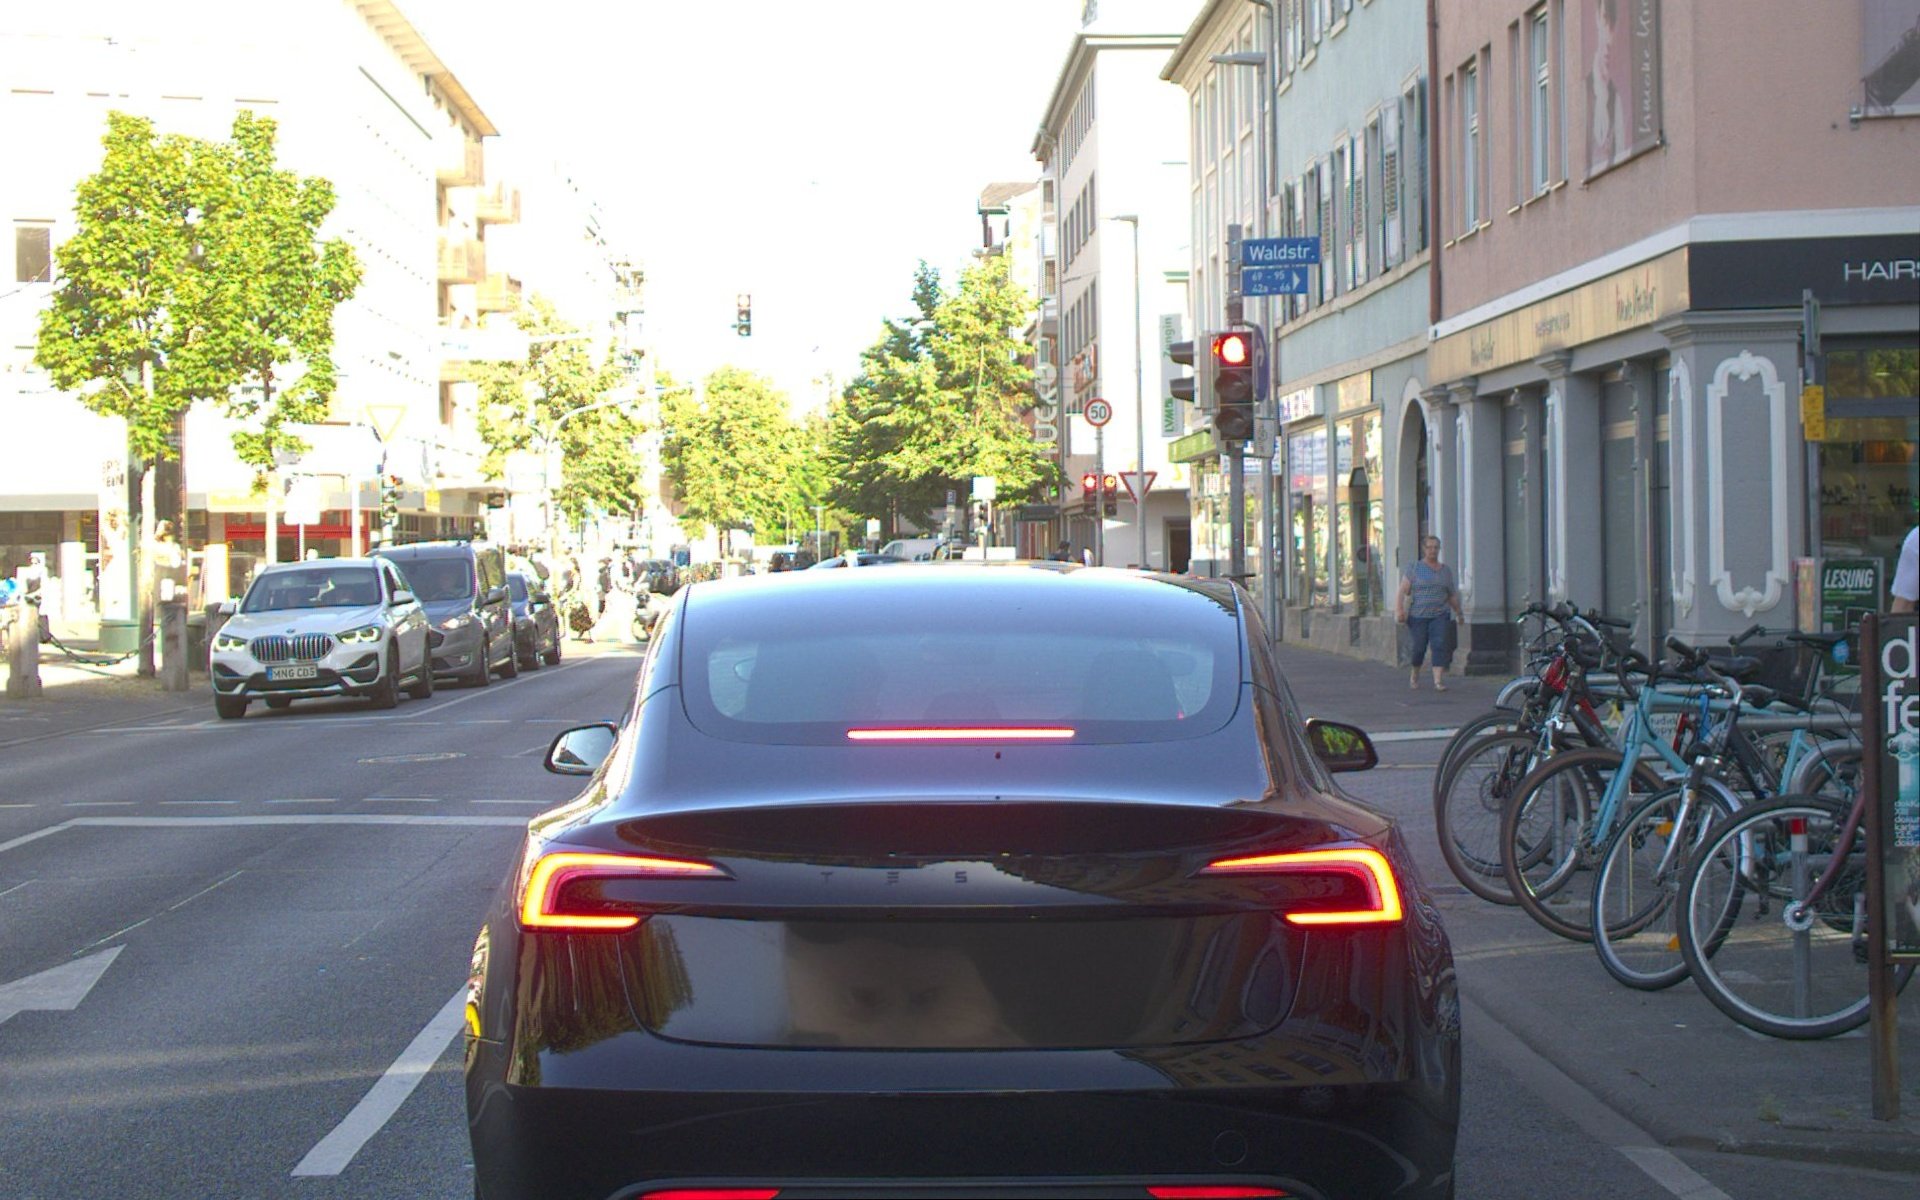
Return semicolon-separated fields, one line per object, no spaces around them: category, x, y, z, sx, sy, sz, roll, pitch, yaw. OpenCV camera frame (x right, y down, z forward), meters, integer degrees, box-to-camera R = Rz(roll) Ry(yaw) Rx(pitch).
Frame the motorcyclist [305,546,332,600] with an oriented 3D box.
motorcyclist;-14.846;-0.628;79.612;0.489;1.249;0.355;-2;2;-38

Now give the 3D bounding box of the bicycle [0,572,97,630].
bicycle;-20.789;0.019;77.849;2.361;1.291;0.513;1;0;-26

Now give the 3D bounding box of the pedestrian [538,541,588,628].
pedestrian;-7.505;-0.298;65.001;0.754;1.626;0.956;1;0;-18

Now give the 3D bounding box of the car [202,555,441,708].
car;-6.656;0.291;36.202;1.789;1.455;3.757;-2;1;0

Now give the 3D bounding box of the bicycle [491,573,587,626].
bicycle;-8.134;-0.008;66.415;1.784;1.003;0.472;1;0;-16

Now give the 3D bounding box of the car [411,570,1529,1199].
car;-0.006;0.657;7.608;1.822;1.437;4.000;0;1;-1

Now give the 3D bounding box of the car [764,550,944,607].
car;-2.592;-0.545;83.827;3.986;1.349;1.909;0;1;-22

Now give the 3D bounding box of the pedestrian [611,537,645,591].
pedestrian;-8.702;-0.942;90.133;0.671;1.389;0.590;0;0;-36

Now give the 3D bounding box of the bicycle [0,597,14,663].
bicycle;-14.738;0.421;49.839;1.864;0.931;0.606;1;0;-1

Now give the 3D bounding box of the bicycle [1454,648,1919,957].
bicycle;2.769;0.720;12.434;1.873;1.034;0.533;-2;0;4

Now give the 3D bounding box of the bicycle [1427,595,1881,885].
bicycle;2.957;0.592;14.753;1.828;1.165;0.505;-2;0;5

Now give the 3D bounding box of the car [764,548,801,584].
car;-8.483;-1.614;164.471;1.751;1.683;3.832;1;1;-3

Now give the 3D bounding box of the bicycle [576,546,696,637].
bicycle;-5.975;-0.158;63.390;2.101;1.659;0.669;1;0;-16

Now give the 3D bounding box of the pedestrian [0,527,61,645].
pedestrian;-16.095;-0.251;59.250;1.057;2.007;1.055;1;0;-20

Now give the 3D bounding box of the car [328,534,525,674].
car;-6.529;0.013;42.484;1.787;1.640;4.403;0;1;-1

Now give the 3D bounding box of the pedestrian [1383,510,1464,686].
pedestrian;4.636;-0.024;34.390;0.706;1.736;0.540;1;0;-1

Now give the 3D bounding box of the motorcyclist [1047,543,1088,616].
motorcyclist;2.275;-0.437;72.746;0.719;1.523;0.516;0;1;-23

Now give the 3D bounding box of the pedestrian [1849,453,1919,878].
pedestrian;4.260;0.273;14.643;0.750;1.759;0.836;1;0;4

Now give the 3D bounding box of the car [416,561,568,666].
car;-6.765;0.167;49.989;1.715;1.441;3.845;1;1;-1

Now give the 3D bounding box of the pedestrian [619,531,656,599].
pedestrian;-8.522;-0.914;90.880;0.671;1.782;0.712;0;0;-36

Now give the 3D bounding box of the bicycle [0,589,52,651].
bicycle;-14.811;0.303;52.251;1.864;0.931;0.606;0;1;-1

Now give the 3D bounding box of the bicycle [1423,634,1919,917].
bicycle;2.808;0.689;13.634;1.873;1.034;0.547;-2;0;5

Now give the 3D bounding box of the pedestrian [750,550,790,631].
pedestrian;-3.620;-0.175;65.489;0.622;1.532;0.514;1;0;-18

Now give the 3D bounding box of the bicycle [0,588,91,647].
bicycle;-14.839;0.278;54.700;1.864;0.931;0.606;0;1;-1

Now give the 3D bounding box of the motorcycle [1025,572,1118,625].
motorcycle;2.360;-0.040;72.788;1.926;1.107;0.519;0;1;-23

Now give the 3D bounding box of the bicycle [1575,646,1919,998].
bicycle;2.989;0.703;11.179;1.873;1.084;0.414;-2;0;4

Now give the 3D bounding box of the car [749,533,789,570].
car;-10.360;-2.643;187.140;1.993;2.007;4.000;0;1;-1

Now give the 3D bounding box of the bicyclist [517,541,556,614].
bicyclist;-8.179;-0.436;66.388;0.669;1.390;0.462;1;0;-16

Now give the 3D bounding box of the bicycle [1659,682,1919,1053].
bicycle;3.017;0.755;9.982;1.873;1.034;0.353;-2;0;6

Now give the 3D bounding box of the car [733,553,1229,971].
car;0.006;0.535;13.784;1.718;1.420;3.758;0;1;-2
